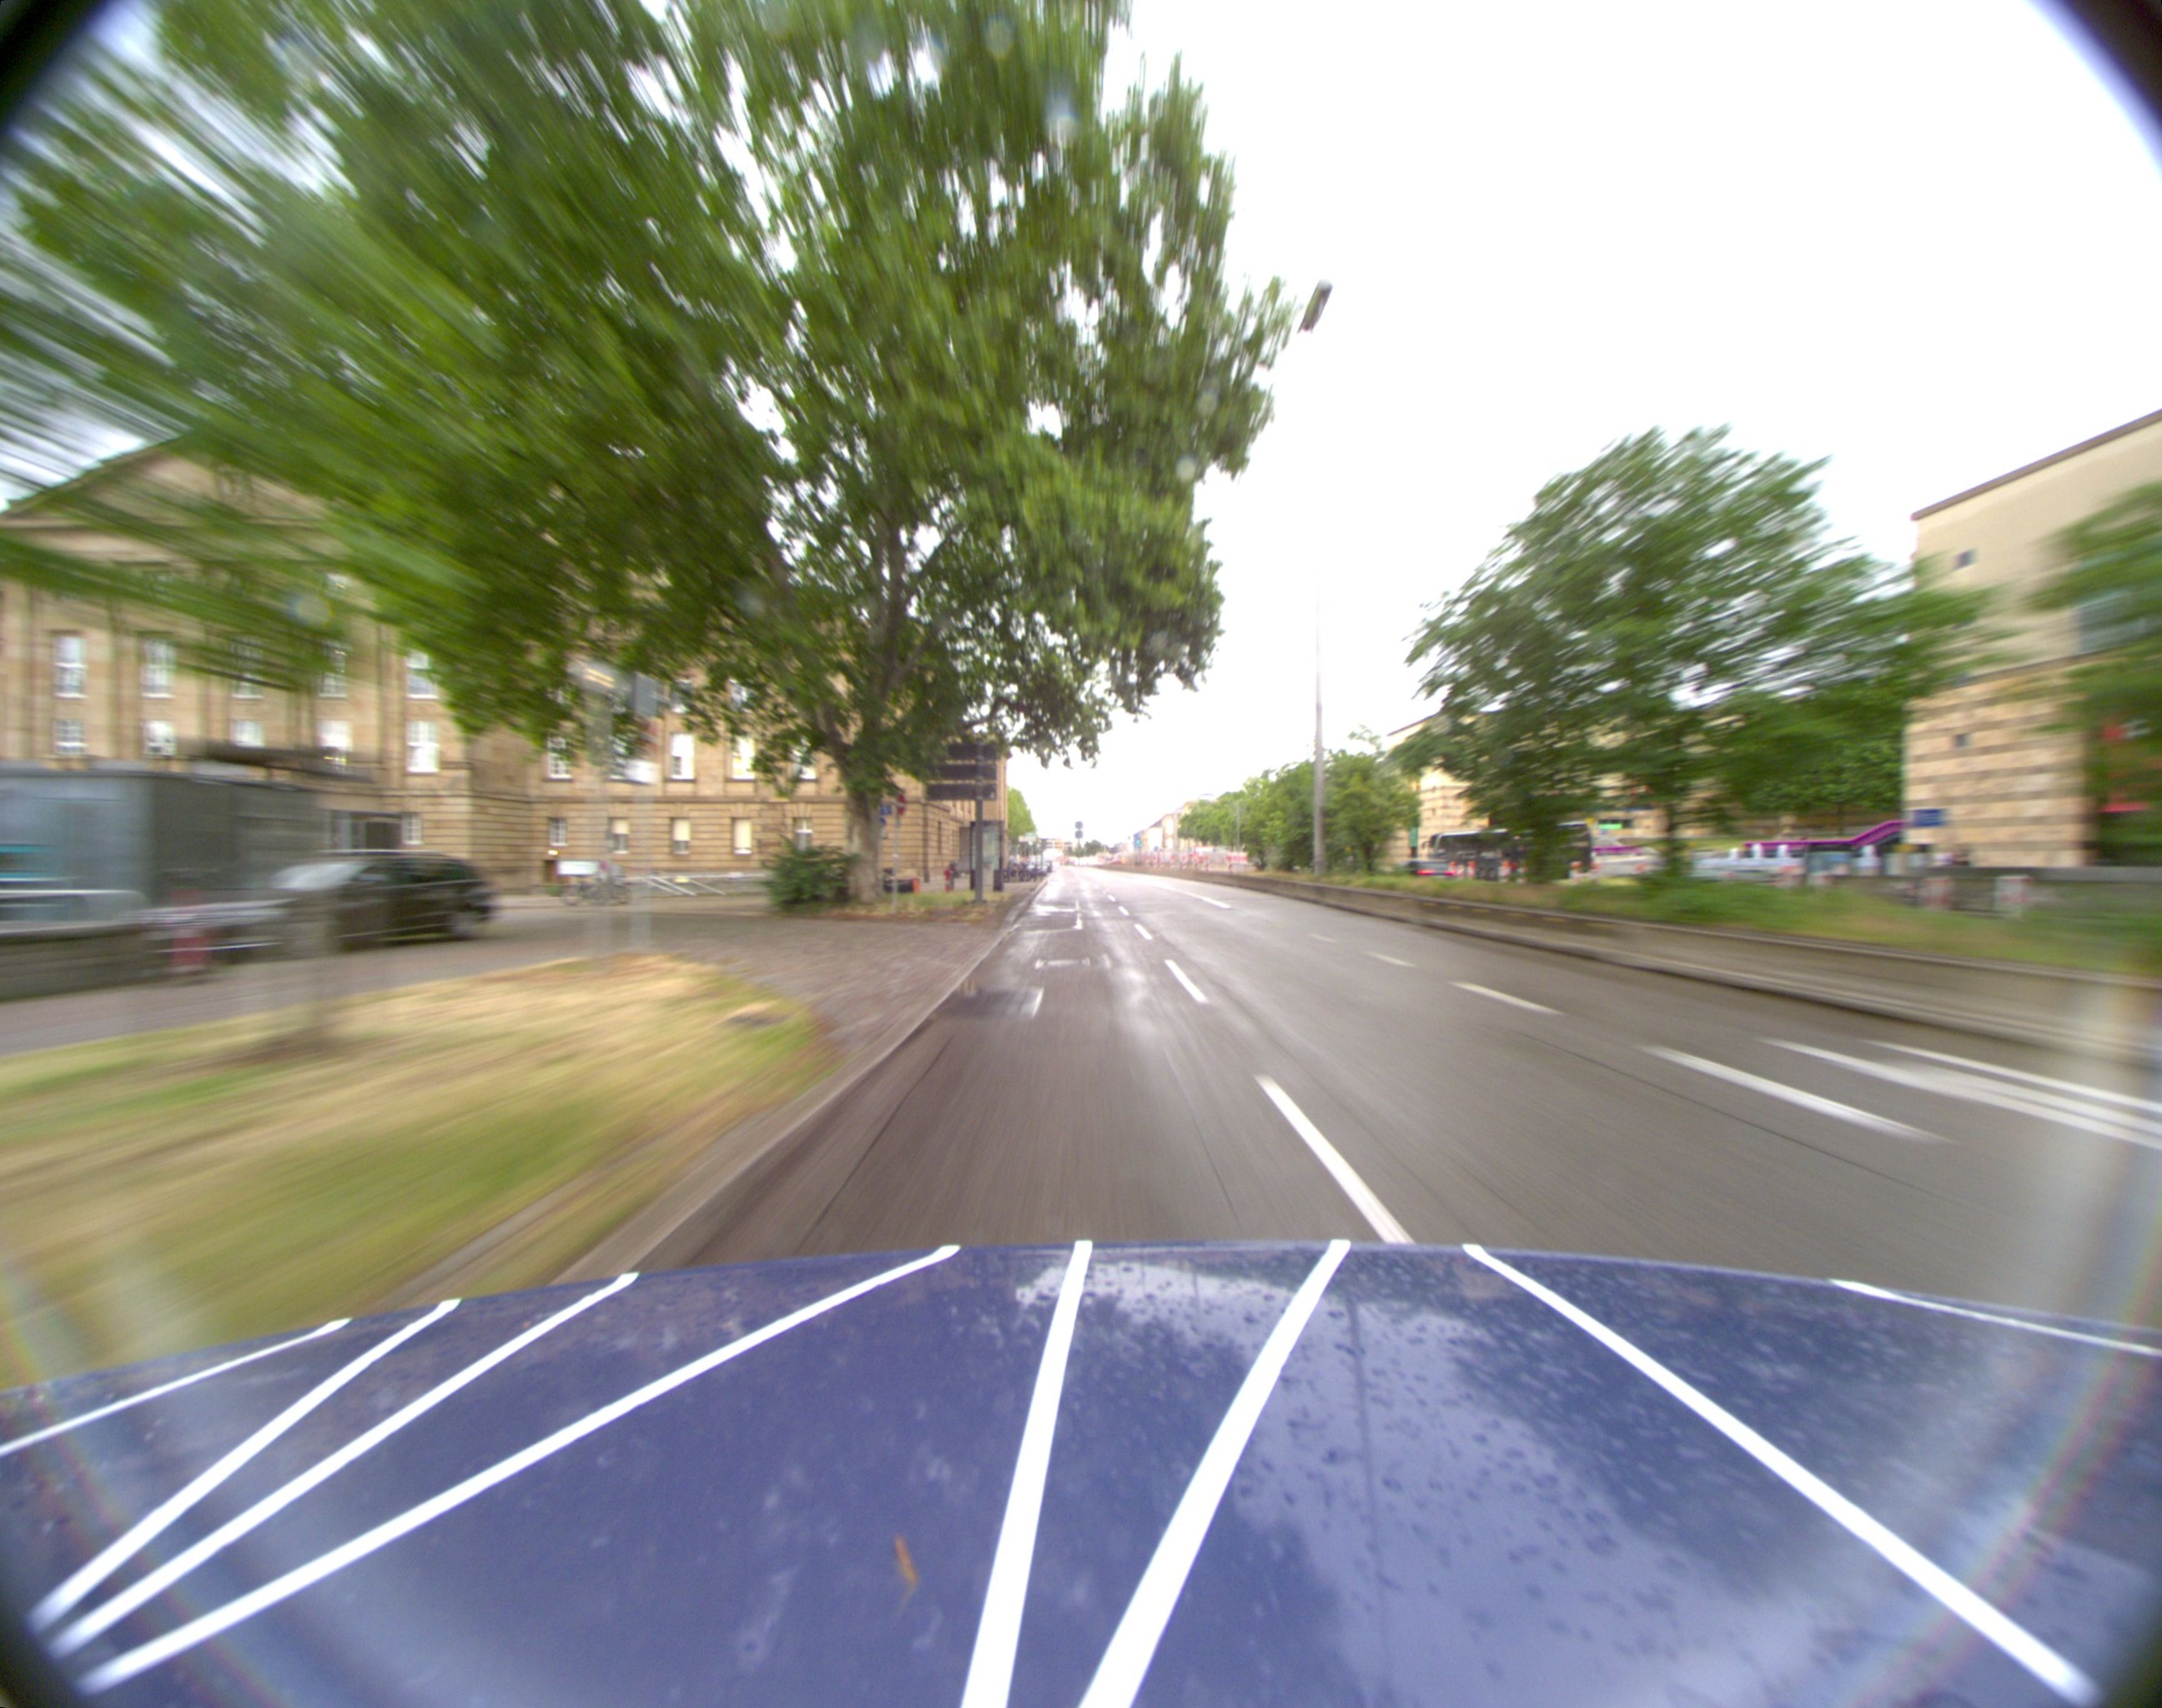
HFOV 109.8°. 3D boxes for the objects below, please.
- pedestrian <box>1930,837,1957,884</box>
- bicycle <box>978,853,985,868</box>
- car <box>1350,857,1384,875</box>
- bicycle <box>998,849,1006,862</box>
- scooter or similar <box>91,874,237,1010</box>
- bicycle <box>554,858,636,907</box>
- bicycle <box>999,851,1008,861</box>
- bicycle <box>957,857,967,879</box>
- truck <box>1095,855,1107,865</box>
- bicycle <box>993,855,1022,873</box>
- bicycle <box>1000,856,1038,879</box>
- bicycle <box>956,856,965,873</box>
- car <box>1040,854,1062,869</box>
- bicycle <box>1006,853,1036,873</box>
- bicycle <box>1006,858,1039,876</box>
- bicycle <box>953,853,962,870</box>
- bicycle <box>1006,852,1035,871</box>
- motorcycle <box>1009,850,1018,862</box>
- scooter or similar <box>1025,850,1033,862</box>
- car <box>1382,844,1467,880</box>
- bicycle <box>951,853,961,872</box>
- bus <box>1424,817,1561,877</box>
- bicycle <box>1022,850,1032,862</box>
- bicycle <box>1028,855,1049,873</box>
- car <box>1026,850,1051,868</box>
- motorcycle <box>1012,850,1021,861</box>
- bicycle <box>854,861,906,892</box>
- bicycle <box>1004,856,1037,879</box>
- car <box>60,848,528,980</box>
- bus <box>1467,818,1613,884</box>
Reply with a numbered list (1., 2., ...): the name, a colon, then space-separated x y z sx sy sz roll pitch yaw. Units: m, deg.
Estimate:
1. pedestrian: 37.530 0.288 33.059 0.479 2.002 0.512 1 2 0
2. bicycle: -8.086 0.500 61.724 0.465 1.208 1.691 -1 1 -2
3. car: 24.891 1.030 66.246 1.596 1.492 3.213 -1 1 -3
4. bicycle: -7.891 0.165 75.965 0.732 1.261 1.757 0 1 -6
5. scooter or similar: -9.559 0.858 7.983 0.544 1.248 1.433 0 1 -32
6. bicycle: -17.349 0.997 27.168 2.322 1.657 0.774 -1 2 -6
7. bicycle: -8.248 0.219 80.625 0.419 1.044 1.773 0 1 12
8. bicycle: -8.386 0.959 53.608 0.455 1.507 1.599 -2 1 -2
9. truck: 5.564 1.527 210.126 2.405 2.703 7.350 0 0 -6
10. bicycle: -4.197 0.580 43.708 1.593 0.988 0.524 -1 1 1
11. bicycle: -3.630 0.796 44.549 2.196 1.329 0.650 0 1 1
12. bicycle: -8.227 0.688 51.917 0.353 1.074 1.789 -1 1 -1
13. car: -3.099 0.788 78.543 1.762 1.405 3.155 -3 -3 6
14. bicycle: -3.495 0.511 44.448 1.683 1.116 0.601 -1 1 1
15. bicycle: -3.626 0.801 47.318 1.991 1.054 0.759 -1 1 -4
16. bicycle: -8.171 0.512 50.295 0.353 1.074 1.788 1 1 -1
17. bicycle: -3.653 0.463 45.742 1.683 1.084 0.650 -1 1 1
18. motorcycle: -7.532 0.194 85.168 0.668 1.318 2.135 -1 1 3
19. scooter or similar: -5.729 0.207 83.467 0.435 1.285 1.255 -1 1 -24
20. car: 15.922 0.349 35.463 1.999 1.587 3.998 0 1 -3
21. bicycle: -8.424 0.552 51.172 0.455 1.244 1.599 -2 1 -2
22. bus: 29.521 -0.491 55.716 2.810 3.789 14.599 -2 0 3
23. bicycle: -5.496 0.219 77.113 0.778 1.211 1.963 1 1 -12
24. bicycle: -2.421 0.550 43.557 0.670 0.962 1.639 0 1 15
25. car: -3.560 0.395 64.661 1.936 1.470 3.702 -1 1 0
26. motorcycle: -7.448 0.170 87.410 0.808 1.291 1.799 -1 1 3
27. bicycle: -7.165 0.808 27.070 1.644 1.014 0.575 -2 1 4
28. bicycle: -3.581 0.789 45.244 1.910 1.325 0.650 -1 1 1
29. car: -11.577 0.774 11.967 1.999 1.600 5.236 -1 -1 -1
30. bus: 33.356 -0.216 56.266 3.126 4.227 13.495 -2 0 3
